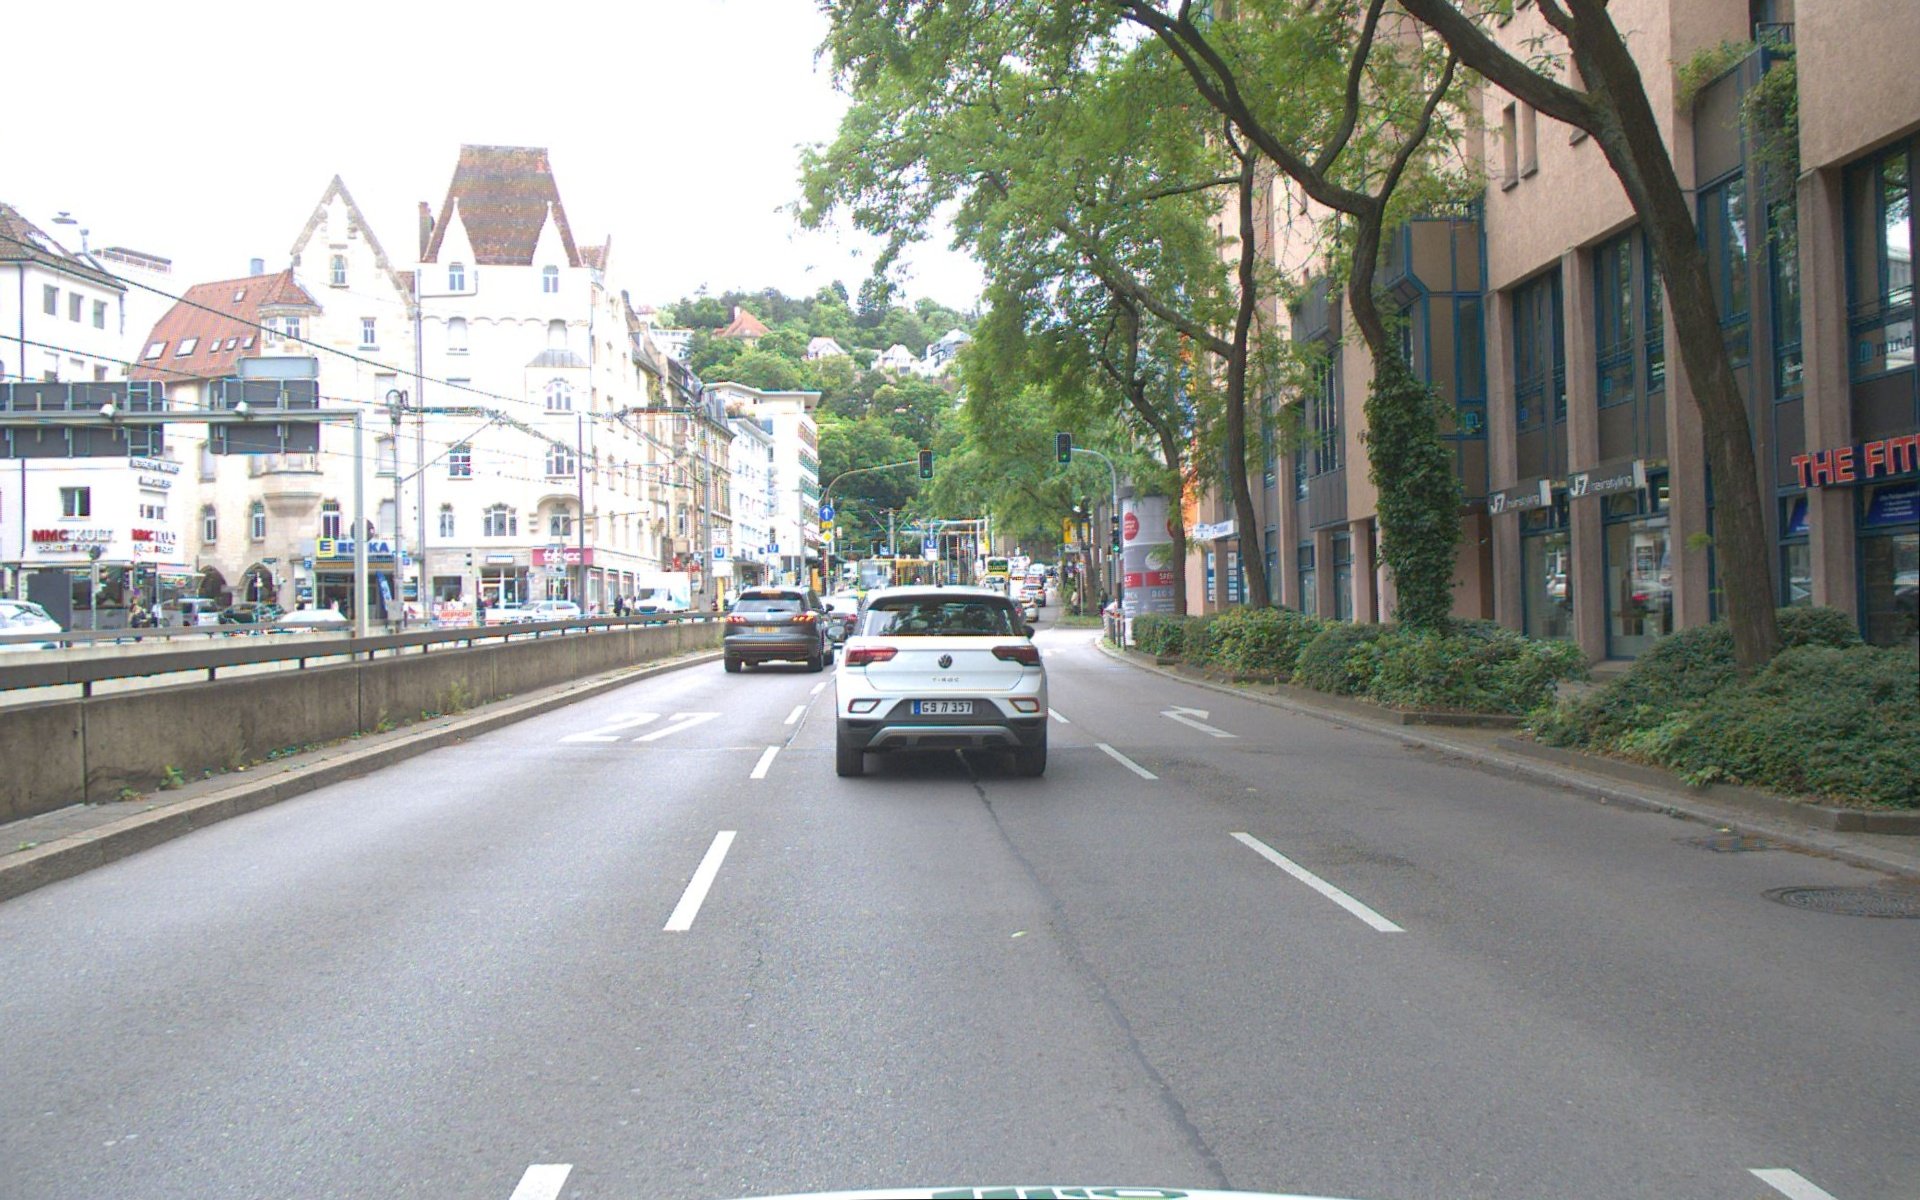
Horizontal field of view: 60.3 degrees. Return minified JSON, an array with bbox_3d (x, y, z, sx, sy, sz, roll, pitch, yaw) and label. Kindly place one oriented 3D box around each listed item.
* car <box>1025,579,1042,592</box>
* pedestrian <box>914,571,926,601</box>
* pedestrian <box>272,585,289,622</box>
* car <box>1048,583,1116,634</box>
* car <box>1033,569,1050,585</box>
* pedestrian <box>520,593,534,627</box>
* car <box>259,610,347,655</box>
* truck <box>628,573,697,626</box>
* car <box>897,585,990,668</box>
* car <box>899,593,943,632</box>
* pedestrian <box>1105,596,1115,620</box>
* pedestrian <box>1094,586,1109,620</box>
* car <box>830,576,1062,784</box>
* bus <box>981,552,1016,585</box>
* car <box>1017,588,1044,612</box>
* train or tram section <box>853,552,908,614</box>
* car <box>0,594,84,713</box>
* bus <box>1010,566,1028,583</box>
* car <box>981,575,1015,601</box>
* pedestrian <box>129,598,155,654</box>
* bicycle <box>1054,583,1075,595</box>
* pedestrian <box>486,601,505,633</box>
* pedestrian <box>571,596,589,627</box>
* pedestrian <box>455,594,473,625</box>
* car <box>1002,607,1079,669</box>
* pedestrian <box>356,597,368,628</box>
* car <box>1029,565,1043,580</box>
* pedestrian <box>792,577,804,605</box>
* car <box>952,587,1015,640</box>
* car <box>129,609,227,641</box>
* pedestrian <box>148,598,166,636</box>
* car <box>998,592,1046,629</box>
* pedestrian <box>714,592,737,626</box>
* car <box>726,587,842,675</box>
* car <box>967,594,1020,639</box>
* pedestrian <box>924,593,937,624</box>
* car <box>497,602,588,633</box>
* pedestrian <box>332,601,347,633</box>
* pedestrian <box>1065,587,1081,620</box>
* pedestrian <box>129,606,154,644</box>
[{"bbox_3d":[7.175,-1.440,161.550,1.549,1.193,3.680,0,0,3],"label":"car"},{"bbox_3d":[-2.369,-0.828,98.167,0.671,1.741,0.712,-1,1,3],"label":"pedestrian"},{"bbox_3d":[-33.308,0.189,81.056,0.564,1.811,0.510,-1,0,29],"label":"pedestrian"},{"bbox_3d":[5.065,0.346,69.439,2.317,2.049,5.146,0,0,-2],"label":"car"},{"bbox_3d":[10.389,-2.924,211.122,1.953,2.049,4.000,0,0,0],"label":"car"},{"bbox_3d":[-23.856,0.545,91.042,0.563,1.811,0.512,-1,0,8],"label":"pedestrian"},{"bbox_3d":[-23.991,1.154,60.526,1.630,1.527,4.042,-1,0,-1],"label":"car"},{"bbox_3d":[-17.975,-0.018,100.507,2.218,3.130,7.379,0,0,5],"label":"truck"},{"bbox_3d":[-0.417,0.556,36.431,1.847,1.713,4.158,0,0,-3],"label":"car"},{"bbox_3d":[-1.766,0.561,74.001,1.847,1.713,4.158,0,0,-3],"label":"car"},{"bbox_3d":[8.277,0.449,91.253,0.461,1.357,0.519,0,0,-1],"label":"pedestrian"},{"bbox_3d":[7.897,0.164,92.225,0.706,1.834,0.834,-3,2,-1],"label":"pedestrian"},{"bbox_3d":[-0.217,0.628,14.930,1.801,1.611,4.154,0,0,-3],"label":"car"},{"bbox_3d":[4.045,-3.146,170.770,3.301,3.118,13.329,0,0,3],"label":"bus"},{"bbox_3d":[5.132,0.034,119.999,1.845,1.713,4.163,0,0,4],"label":"car"},{"bbox_3d":[-4.873,-1.044,102.291,2.775,3.743,5.755,0,1,4],"label":"train or tram section"},{"bbox_3d":[-16.472,0.846,27.344,1.798,1.874,4.599,3,0,-6],"label":"car"},{"bbox_3d":[7.249,-3.117,203.976,1.953,2.049,3.999,0,0,-2],"label":"bus"},{"bbox_3d":[3.122,-0.946,134.444,2.314,2.049,5.152,0,0,6],"label":"car"},{"bbox_3d":[-26.635,0.852,53.866,0.499,1.811,0.577,-1,0,5],"label":"pedestrian"},{"bbox_3d":[9.685,-1.023,152.861,1.840,1.157,0.809,0,0,9],"label":"bicycle"},{"bbox_3d":[-26.175,0.954,93.129,0.774,1.811,0.665,-1,0,34],"label":"pedestrian"},{"bbox_3d":[-21.654,0.654,94.245,0.659,1.706,0.691,-1,0,21],"label":"pedestrian"},{"bbox_3d":[-27.835,0.543,92.837,0.765,1.735,0.654,-1,0,9],"label":"pedestrian"},{"bbox_3d":[2.071,0.958,43.672,1.904,1.557,4.000,0,0,1],"label":"car"},{"bbox_3d":[-34.833,0.740,96.360,0.564,1.811,0.510,-1,0,-11],"label":"pedestrian"},{"bbox_3d":[8.887,-3.224,194.160,1.638,1.588,3.680,0,0,3],"label":"car"},{"bbox_3d":[-10.356,-0.578,105.497,0.613,1.793,0.847,-1,0,4],"label":"pedestrian"},{"bbox_3d":[0.759,0.448,55.869,1.847,1.713,4.158,0,0,-3],"label":"car"},{"bbox_3d":[-40.254,1.286,85.175,4.403,1.588,1.756,0,0,12],"label":"car"},{"bbox_3d":[-38.735,0.820,79.750,0.499,1.811,0.599,-1,0,15],"label":"pedestrian"},{"bbox_3d":[3.457,0.585,93.150,2.317,2.049,5.146,0,0,-2],"label":"car"},{"bbox_3d":[-12.239,0.477,86.436,0.859,1.735,0.810,-1,0,32],"label":"pedestrian"},{"bbox_3d":[-3.496,0.576,33.528,1.953,1.664,4.000,0,0,-1],"label":"car"},{"bbox_3d":[1.655,0.776,79.468,2.315,2.049,5.150,0,0,4],"label":"car"},{"bbox_3d":[-1.662,0.482,92.769,0.622,1.741,0.872,-1,1,3],"label":"pedestrian"},{"bbox_3d":[-21.850,0.893,86.718,1.723,1.588,4.487,0,0,42],"label":"car"},{"bbox_3d":[-35.171,0.951,93.747,0.502,1.811,0.573,-1,0,43],"label":"pedestrian"},{"bbox_3d":[6.385,0.177,93.563,0.679,1.808,0.689,-5,0,-1],"label":"pedestrian"},{"bbox_3d":[-37.947,1.150,76.674,0.765,1.735,0.654,-1,0,9],"label":"pedestrian"}]
